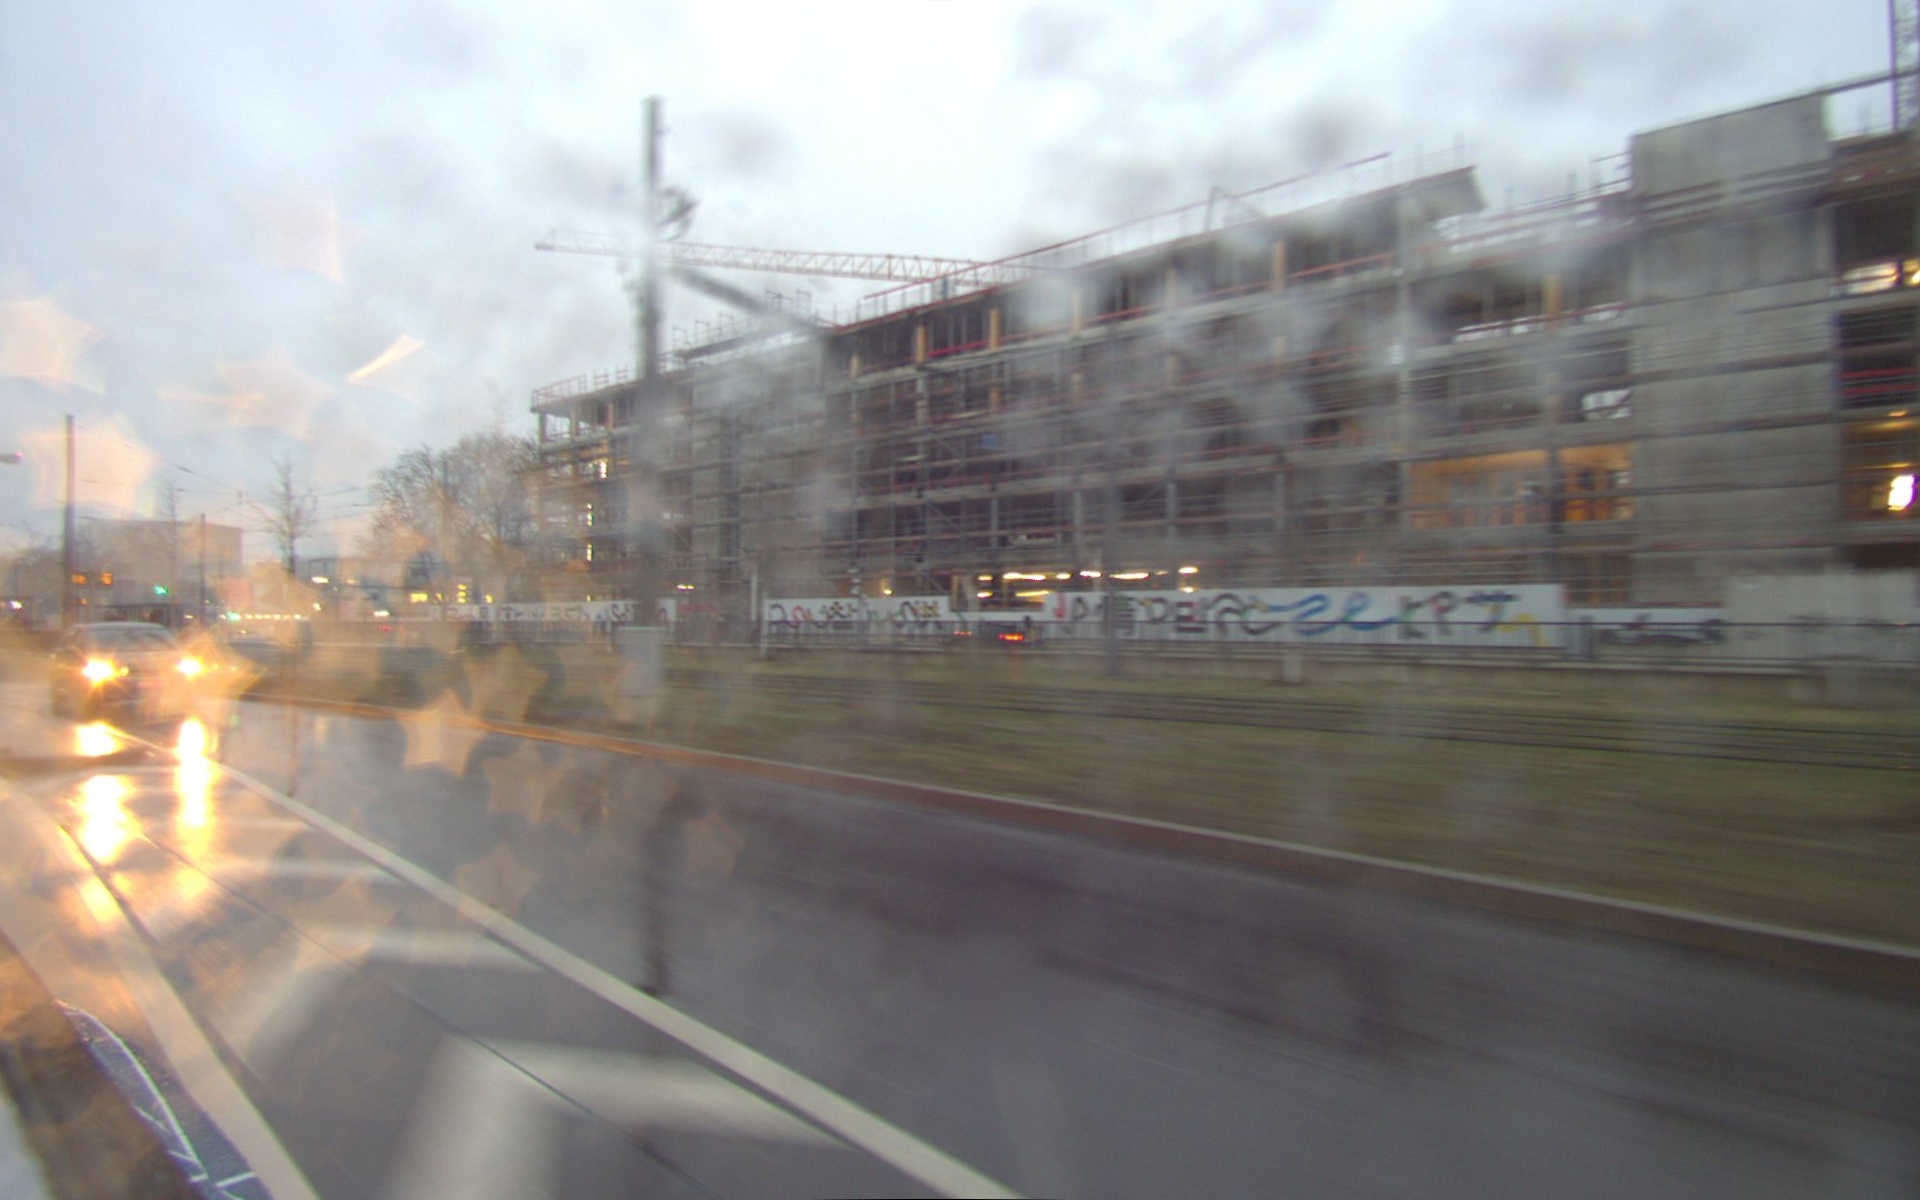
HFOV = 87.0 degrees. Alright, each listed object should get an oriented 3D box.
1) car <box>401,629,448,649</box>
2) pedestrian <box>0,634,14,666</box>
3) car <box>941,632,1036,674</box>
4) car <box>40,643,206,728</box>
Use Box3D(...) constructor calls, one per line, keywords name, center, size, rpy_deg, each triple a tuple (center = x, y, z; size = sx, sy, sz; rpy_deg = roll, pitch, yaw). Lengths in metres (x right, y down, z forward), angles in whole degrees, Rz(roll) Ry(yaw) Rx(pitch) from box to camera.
Box3D(name="car", center=(-41.621, 3.045, 78.580), size=(4.335, 1.425, 1.666), rpy_deg=(-3, -2, 39))
Box3D(name="pedestrian", center=(-52.971, 2.765, 56.190), size=(0.577, 1.714, 0.741), rpy_deg=(1, -2, -41))
Box3D(name="car", center=(1.188, 2.231, 42.956), size=(3.760, 1.675, 1.736), rpy_deg=(-2, -3, 40))
Box3D(name="car", center=(-16.145, 1.567, 19.460), size=(4.002, 1.464, 1.786), rpy_deg=(-2, -4, 41))
